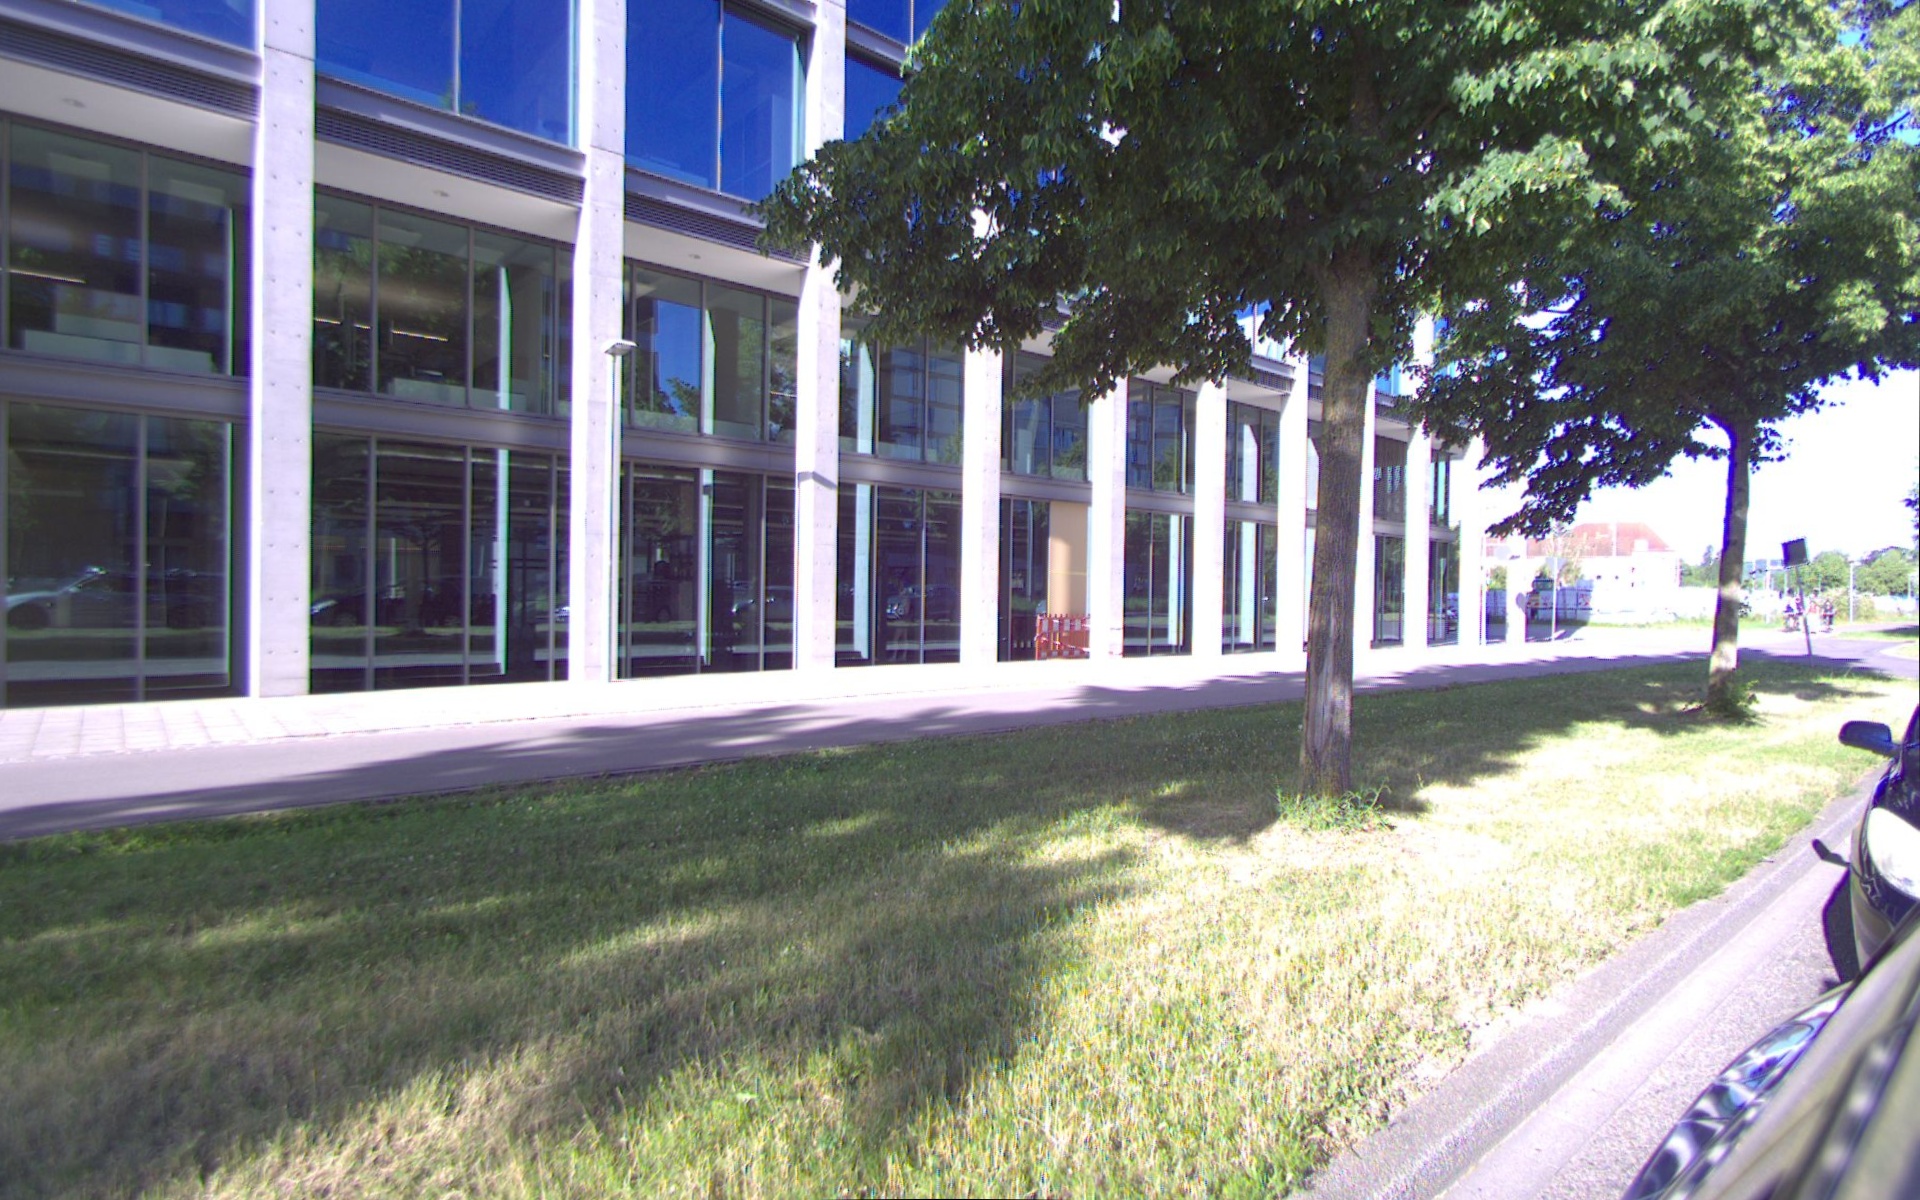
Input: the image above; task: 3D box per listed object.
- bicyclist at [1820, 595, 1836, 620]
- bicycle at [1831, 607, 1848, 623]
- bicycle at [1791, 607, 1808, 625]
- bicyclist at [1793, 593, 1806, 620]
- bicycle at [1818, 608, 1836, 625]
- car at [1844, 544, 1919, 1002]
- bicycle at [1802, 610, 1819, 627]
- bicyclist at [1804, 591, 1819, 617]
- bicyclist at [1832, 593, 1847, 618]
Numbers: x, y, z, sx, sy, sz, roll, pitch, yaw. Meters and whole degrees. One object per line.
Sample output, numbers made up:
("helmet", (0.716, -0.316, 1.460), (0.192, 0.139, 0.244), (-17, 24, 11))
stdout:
("bicyclist", (42.145, 0.363, 49.148), (0.498, 1.232, 0.534), (0, 0, -40))
("bicycle", (45.135, 0.764, 51.916), (1.321, 0.828, 0.464), (-1, 0, -40))
("bicycle", (41.553, 0.789, 50.082), (1.296, 0.828, 0.415), (-1, 0, -40))
("bicyclist", (41.547, 0.320, 50.093), (0.410, 1.305, 0.448), (0, 0, -40))
("bicycle", (42.056, 0.795, 49.093), (1.321, 0.828, 0.464), (-1, 0, -40))
("car", (5.055, 0.592, 4.123), (3.719, 1.541, 1.685), (0, 1, -41))
("bicycle", (44.552, 0.978, 52.981), (1.321, 0.828, 0.464), (-1, 0, -40))
("bicyclist", (44.553, 0.209, 52.945), (0.449, 1.305, 0.534), (0, 0, -40))
("bicyclist", (45.193, 0.283, 52.004), (0.512, 1.305, 0.534), (0, 0, -40))
